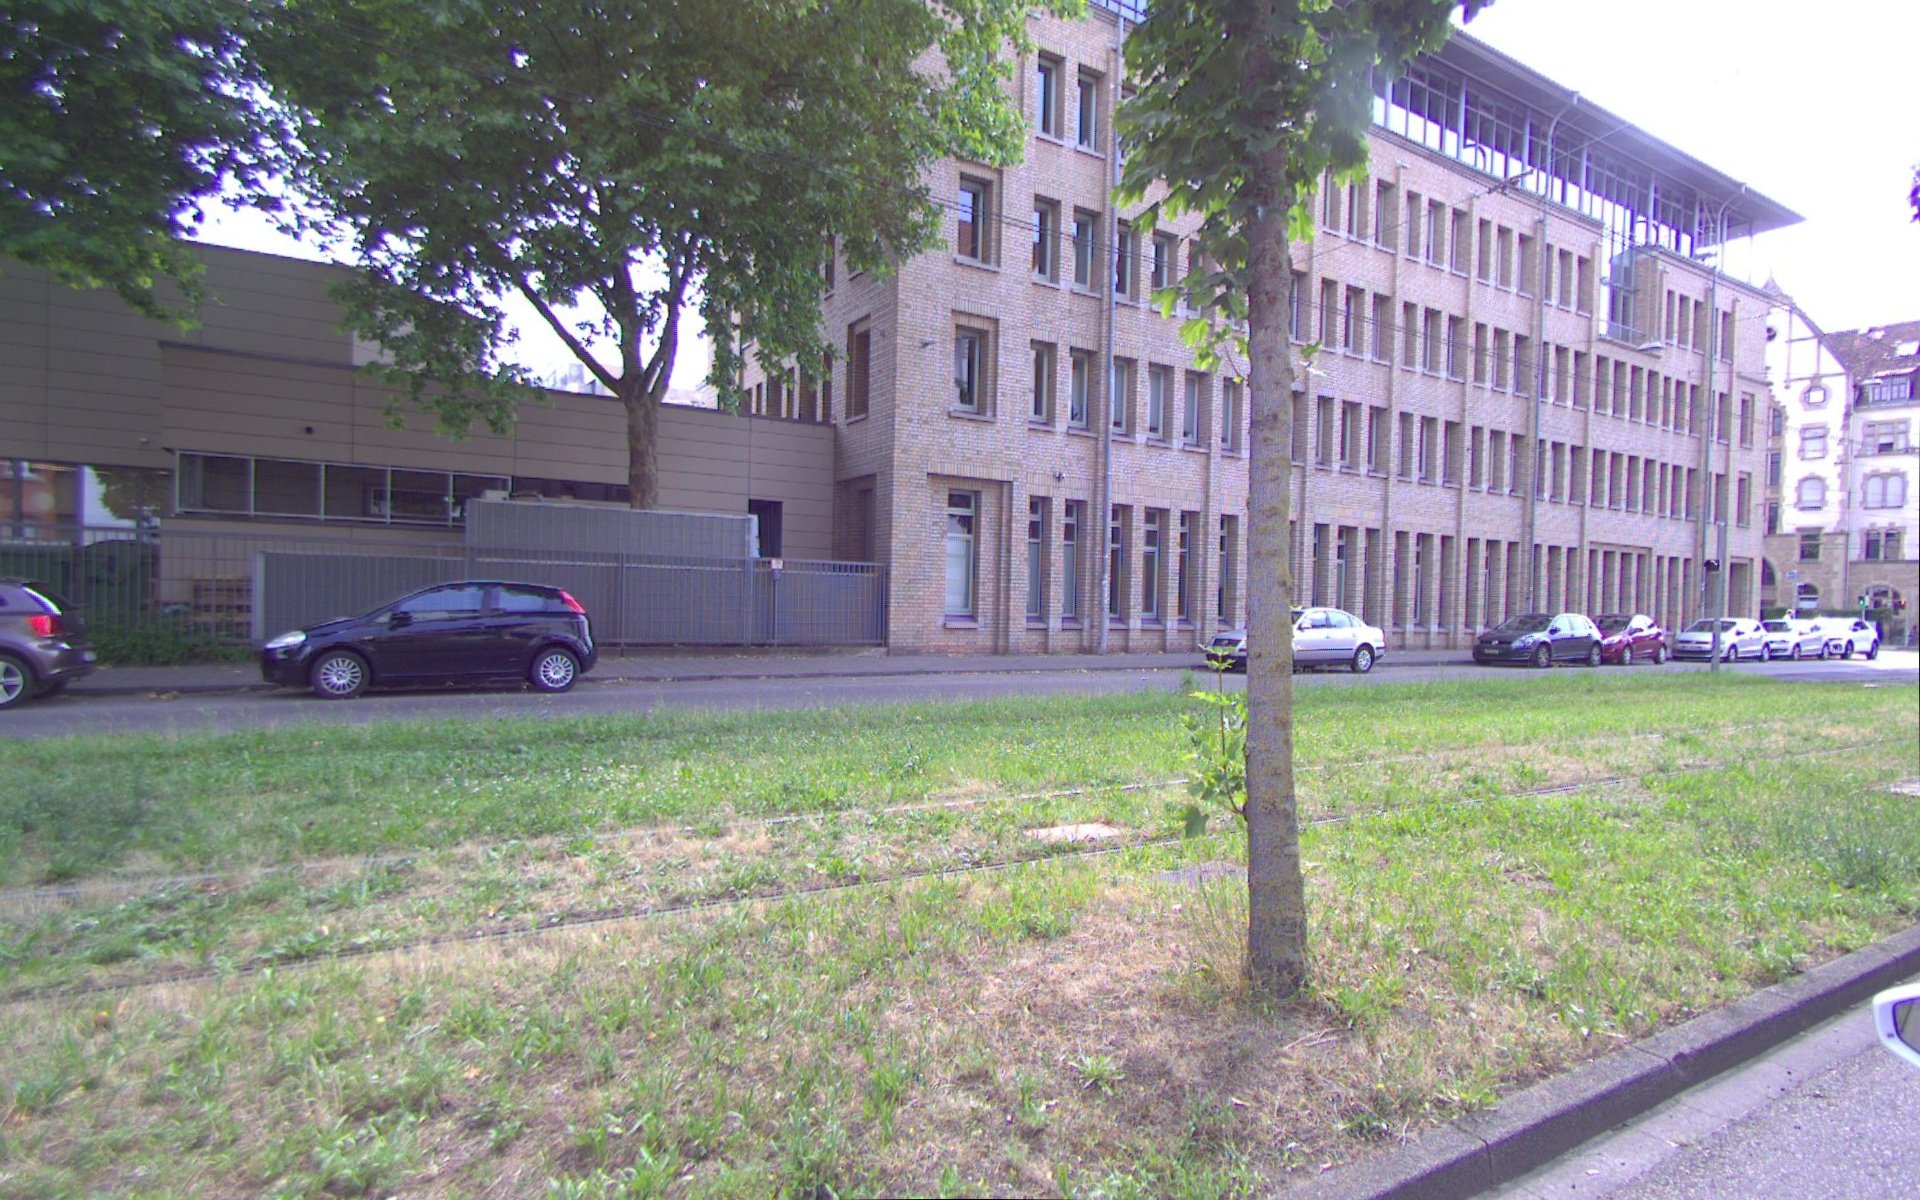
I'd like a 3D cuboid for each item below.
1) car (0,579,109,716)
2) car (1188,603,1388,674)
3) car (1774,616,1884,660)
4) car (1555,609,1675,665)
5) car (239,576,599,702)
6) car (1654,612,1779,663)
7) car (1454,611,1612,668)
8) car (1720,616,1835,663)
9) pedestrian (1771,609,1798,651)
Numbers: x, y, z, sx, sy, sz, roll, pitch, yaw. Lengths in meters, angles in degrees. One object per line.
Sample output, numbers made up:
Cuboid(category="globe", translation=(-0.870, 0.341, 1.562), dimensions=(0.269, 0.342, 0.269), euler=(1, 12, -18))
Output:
Cuboid(category="car", translation=(-11.681, 0.468, 10.611), dimensions=(3.857, 1.445, 1.546), euler=(1, 0, -31))
Cuboid(category="car", translation=(7.338, 0.843, 22.363), dimensions=(4.432, 1.415, 1.707), euler=(1, 0, -30))
Cuboid(category="car", translation=(33.353, 1.449, 38.542), dimensions=(4.207, 1.555, 1.924), euler=(1, 0, -30))
Cuboid(category="car", translation=(19.606, 1.097, 30.042), dimensions=(3.507, 1.551, 1.575), euler=(1, 0, -30))
Cuboid(category="car", translation=(-7.043, 0.481, 13.418), dimensions=(3.950, 1.472, 1.795), euler=(1, 0, -28))
Cuboid(category="car", translation=(25.146, 1.219, 33.374), dimensions=(4.160, 1.551, 1.842), euler=(1, 0, -30))
Cuboid(category="car", translation=(15.717, 1.068, 27.522), dimensions=(4.189, 1.415, 1.924), euler=(1, 0, -30))
Cuboid(category="car", translation=(29.498, 1.407, 36.213), dimensions=(3.967, 1.551, 1.924), euler=(1, 0, -30))
Cuboid(category="pedestrian", translation=(36.122, 1.309, 44.025), dimensions=(0.749, 1.819, 0.957), euler=(2, 1, 34))
